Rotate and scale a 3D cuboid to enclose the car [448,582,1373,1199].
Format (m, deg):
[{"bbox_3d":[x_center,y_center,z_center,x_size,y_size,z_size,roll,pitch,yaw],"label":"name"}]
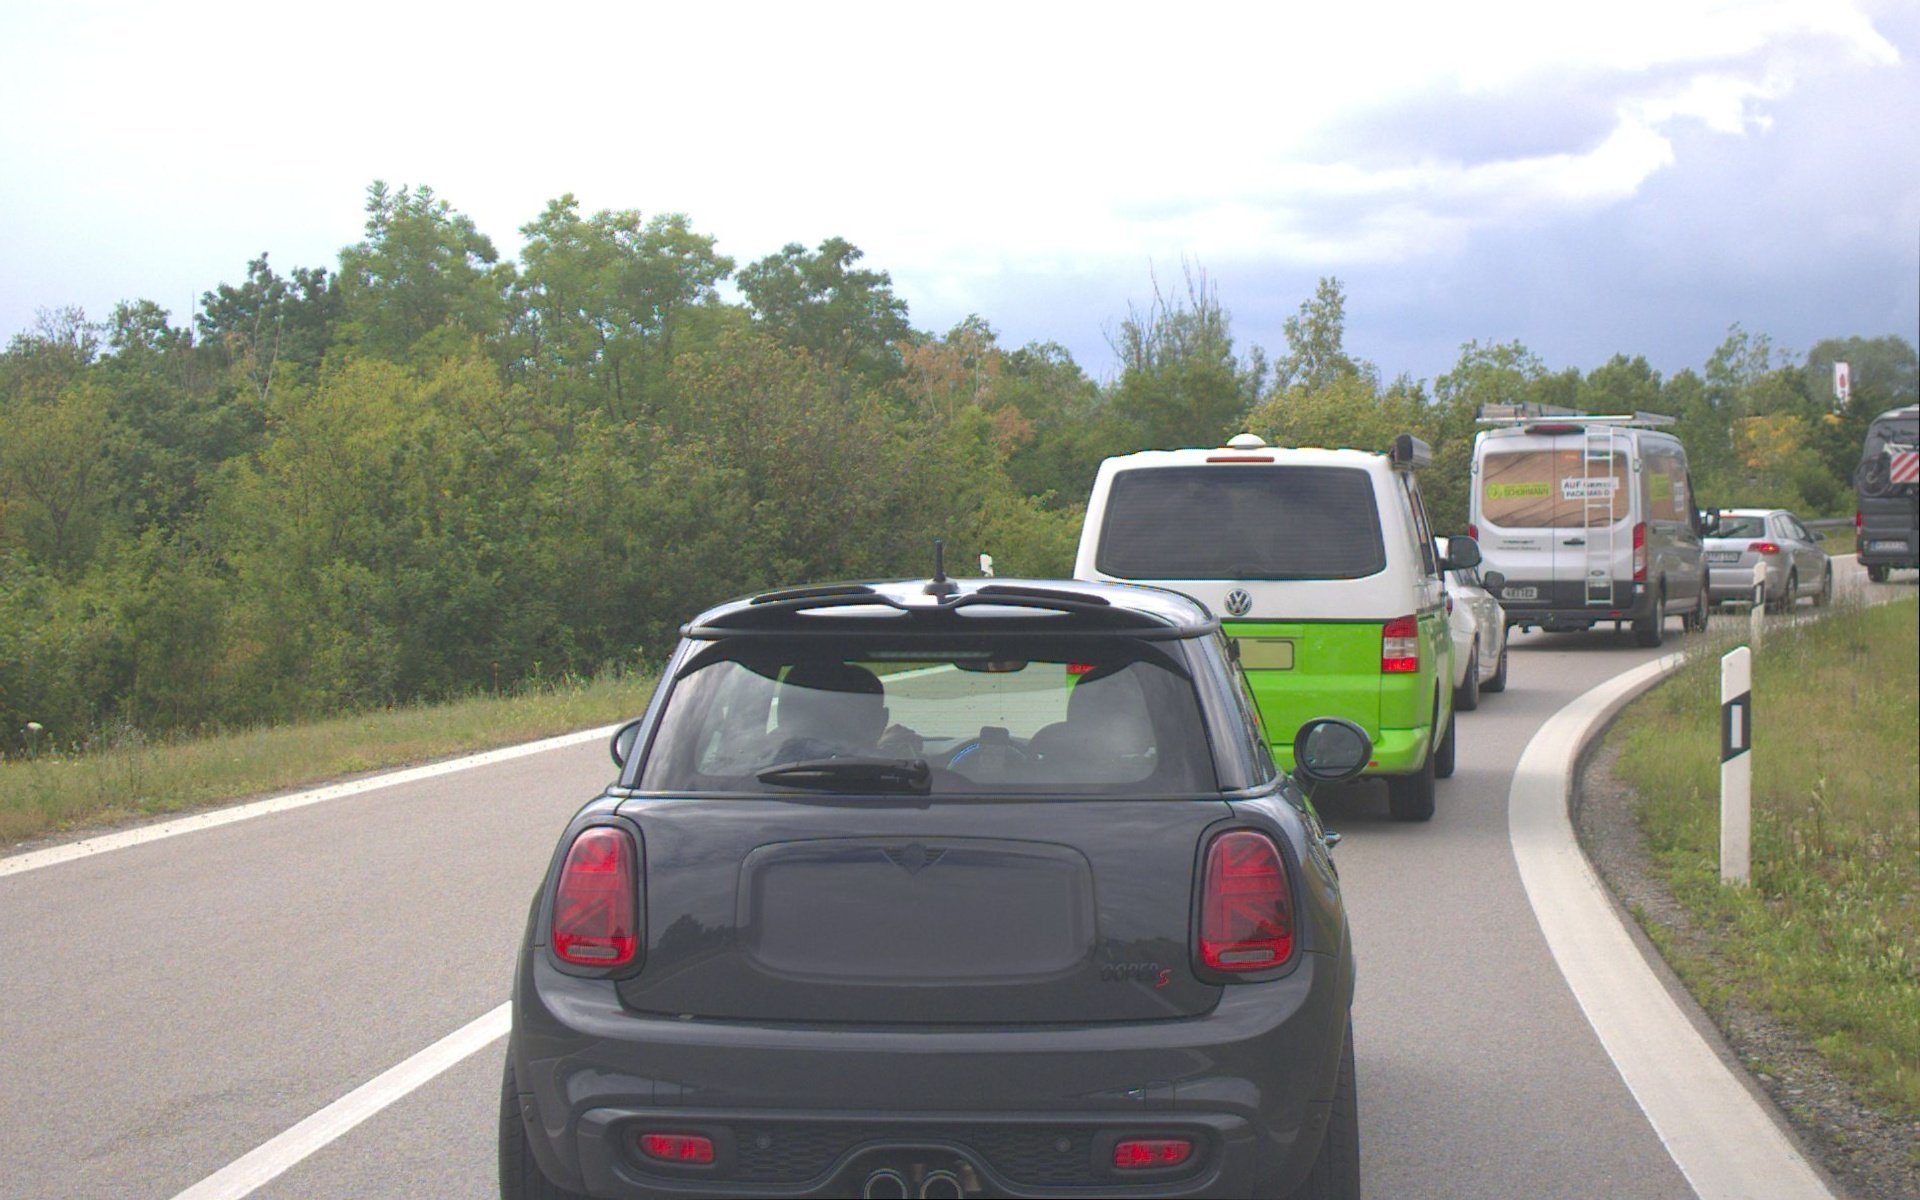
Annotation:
[{"bbox_3d":[0.011,0.669,8.297,1.727,1.409,3.725,0,0,3],"label":"car"}]

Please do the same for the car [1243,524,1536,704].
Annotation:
[{"bbox_3d":[3.665,0.094,28.806,1.764,1.394,3.722,0,0,18],"label":"car"}]

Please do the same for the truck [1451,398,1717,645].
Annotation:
[{"bbox_3d":[7.282,-0.906,39.670,2.180,2.649,5.104,0,1,20],"label":"truck"}]

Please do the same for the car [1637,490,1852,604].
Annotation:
[{"bbox_3d":[10.949,-0.722,47.792,1.869,1.505,3.993,0,0,29],"label":"car"}]

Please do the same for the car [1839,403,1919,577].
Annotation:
[{"bbox_3d":[16.179,-1.773,56.910,2.108,2.787,3.993,1,1,30],"label":"car"}]

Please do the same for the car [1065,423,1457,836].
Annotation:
[{"bbox_3d":[1.754,0.124,18.867,1.785,2.007,3.998,1,0,10],"label":"car"}]
